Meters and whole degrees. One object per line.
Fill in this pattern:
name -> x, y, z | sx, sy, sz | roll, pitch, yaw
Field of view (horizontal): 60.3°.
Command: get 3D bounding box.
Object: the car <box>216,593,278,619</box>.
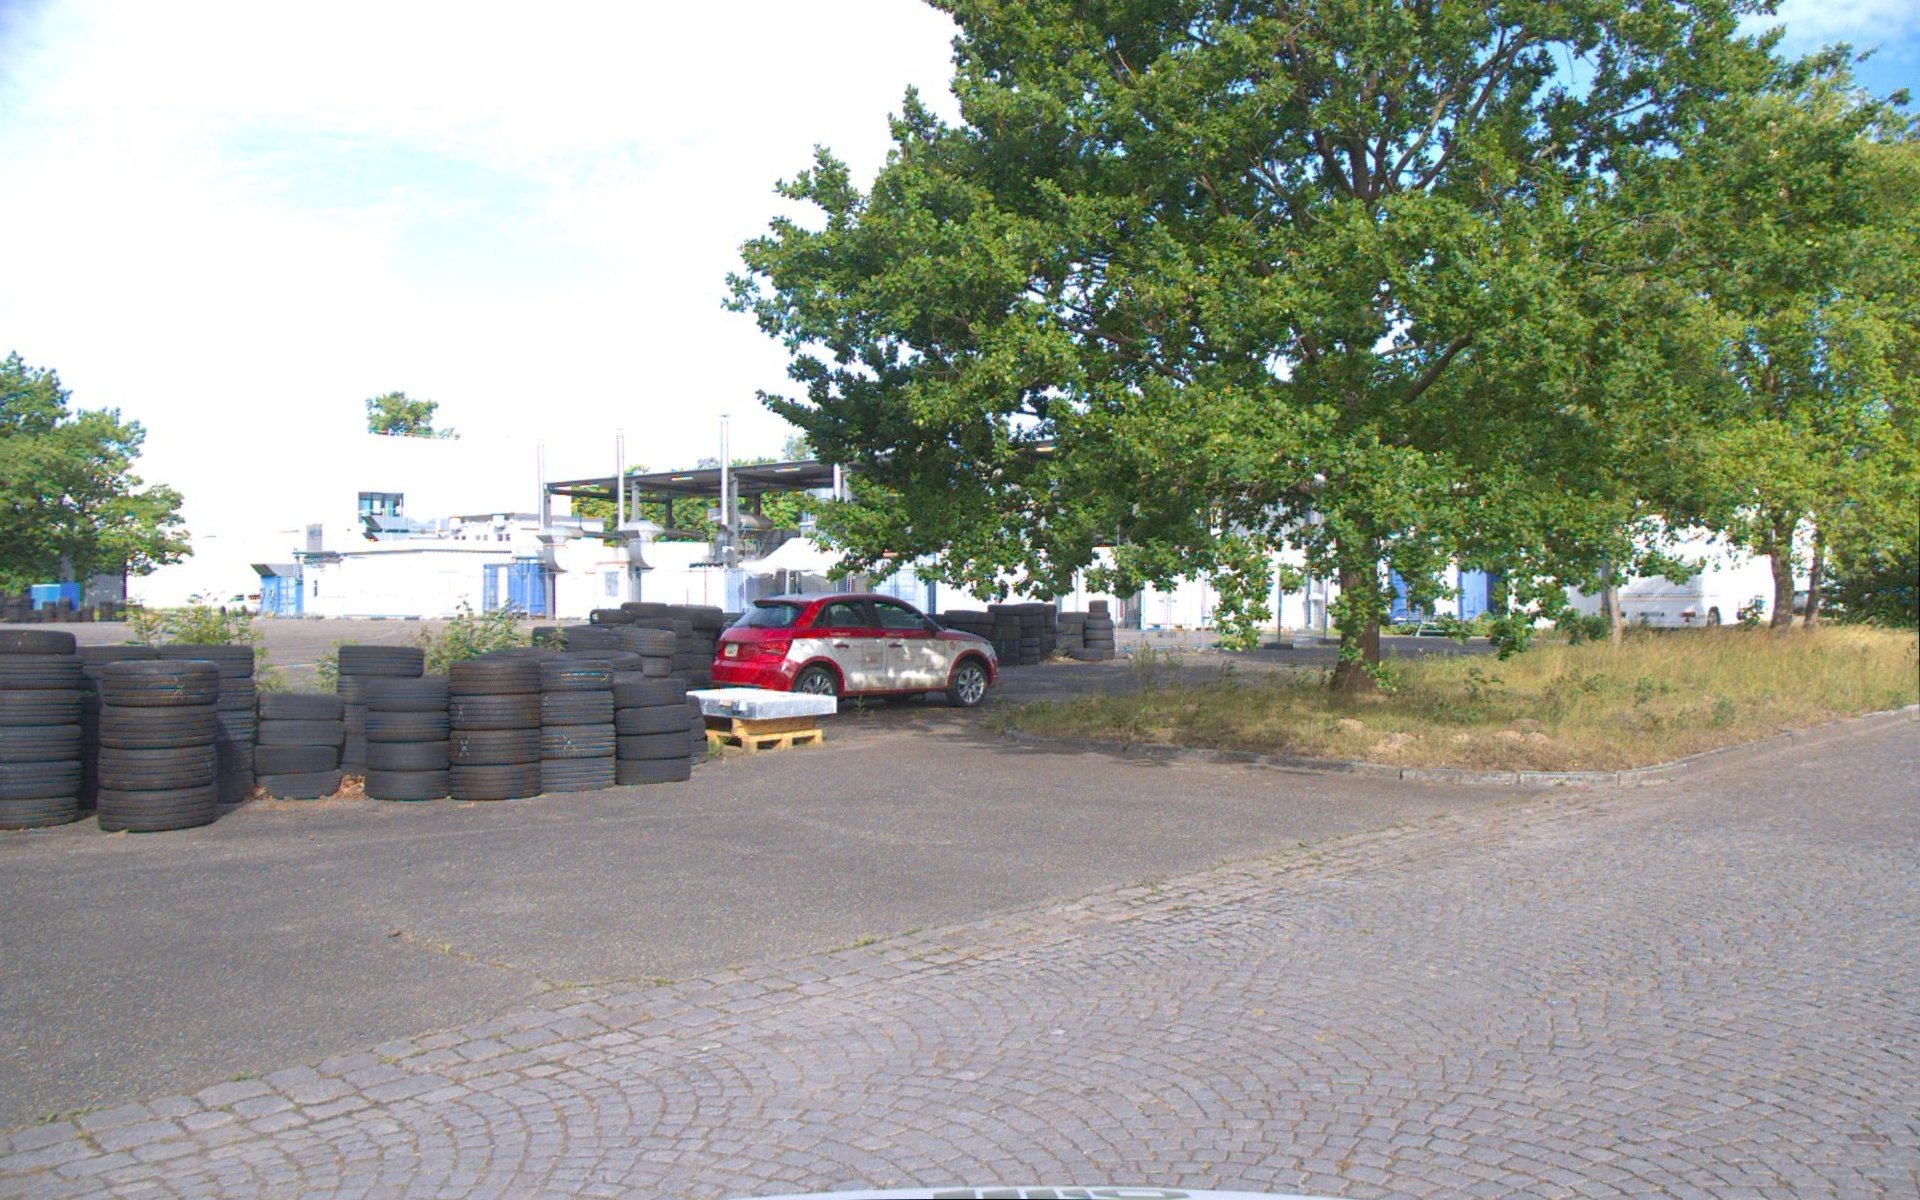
car -> -45.201, 0.373, 104.818 | 4.464, 1.592, 1.865 | 0, 0, 40

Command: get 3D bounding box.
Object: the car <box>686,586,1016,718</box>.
car -> -1.299, 0.581, 20.780 | 3.965, 1.489, 1.702 | -1, 0, -42

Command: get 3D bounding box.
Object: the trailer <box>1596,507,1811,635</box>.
trailer -> 22.743, -0.839, 50.220 | 2.876, 3.532, 9.835 | 0, 0, 43
